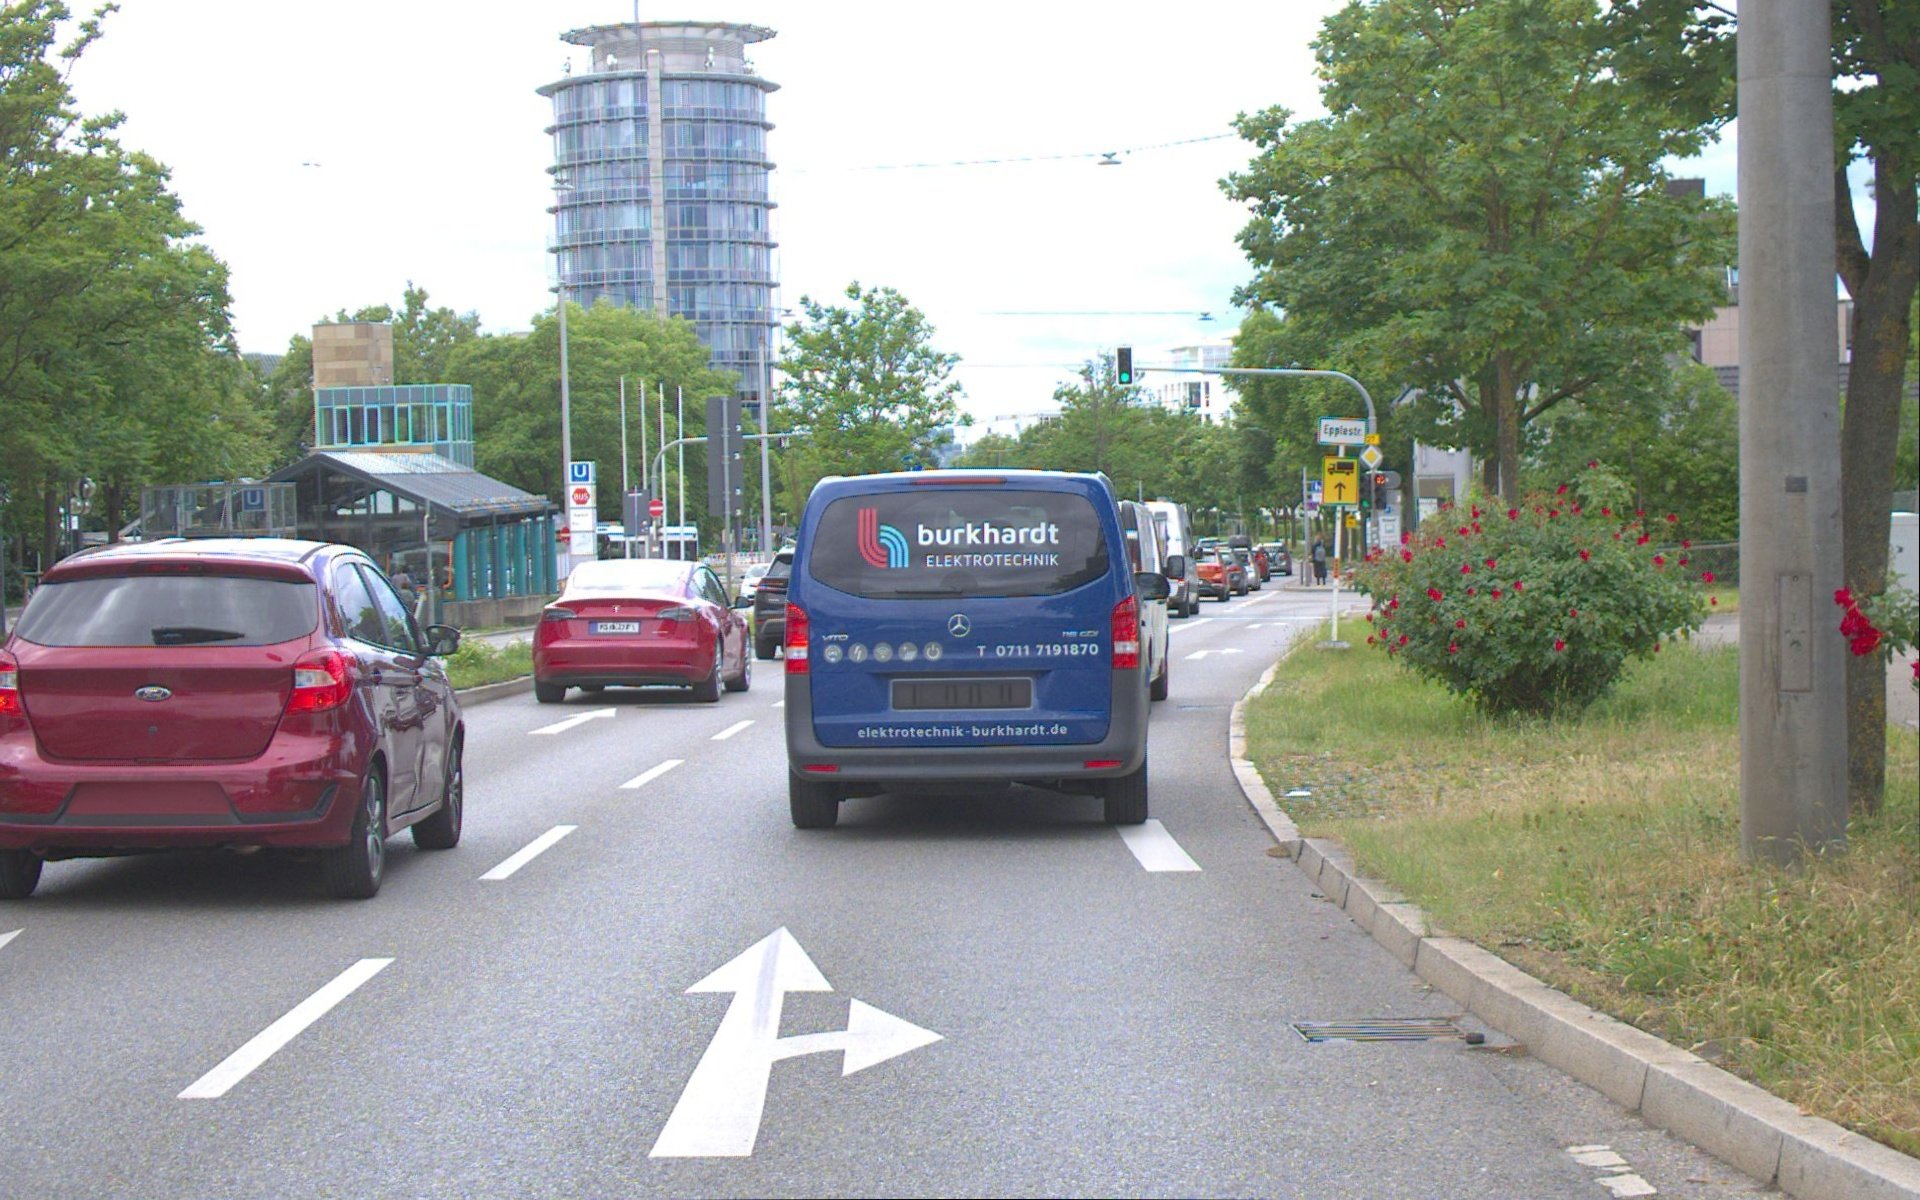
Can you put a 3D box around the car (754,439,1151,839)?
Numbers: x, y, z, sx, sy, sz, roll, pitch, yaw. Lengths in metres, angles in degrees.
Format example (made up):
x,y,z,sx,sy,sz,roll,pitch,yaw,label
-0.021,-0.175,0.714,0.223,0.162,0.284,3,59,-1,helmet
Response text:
x,y,z,sx,sy,sz,roll,pitch,yaw,label
0.047,0.167,19.236,1.948,1.959,4.541,0,1,2,car

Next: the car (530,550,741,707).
x,y,z,sx,sy,sz,roll,pitch,yaw,label
-3.288,0.245,35.488,1.868,1.481,4.000,-2,1,-2,car

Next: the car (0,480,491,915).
x,y,z,sx,sy,sz,roll,pitch,yaw,label
-3.264,0.361,15.643,1.746,1.717,4.000,0,1,-1,car

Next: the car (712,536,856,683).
x,y,z,sx,sy,sz,roll,pitch,yaw,label
-2.526,0.093,50.262,1.993,2.006,4.001,0,2,-1,car

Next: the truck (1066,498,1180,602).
x,y,z,sx,sy,sz,roll,pitch,yaw,label
3.583,-1.092,74.732,1.994,2.158,5.557,1,1,8,truck

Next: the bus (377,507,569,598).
x,y,z,sx,sy,sz,roll,pitch,yaw,label
-17.630,-1.715,125.619,2.958,3.122,12.154,0,1,12,bus

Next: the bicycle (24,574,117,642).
x,y,z,sx,sy,sz,roll,pitch,yaw,label
-17.301,0.140,66.928,1.052,1.266,2.425,1,1,3,bicycle
